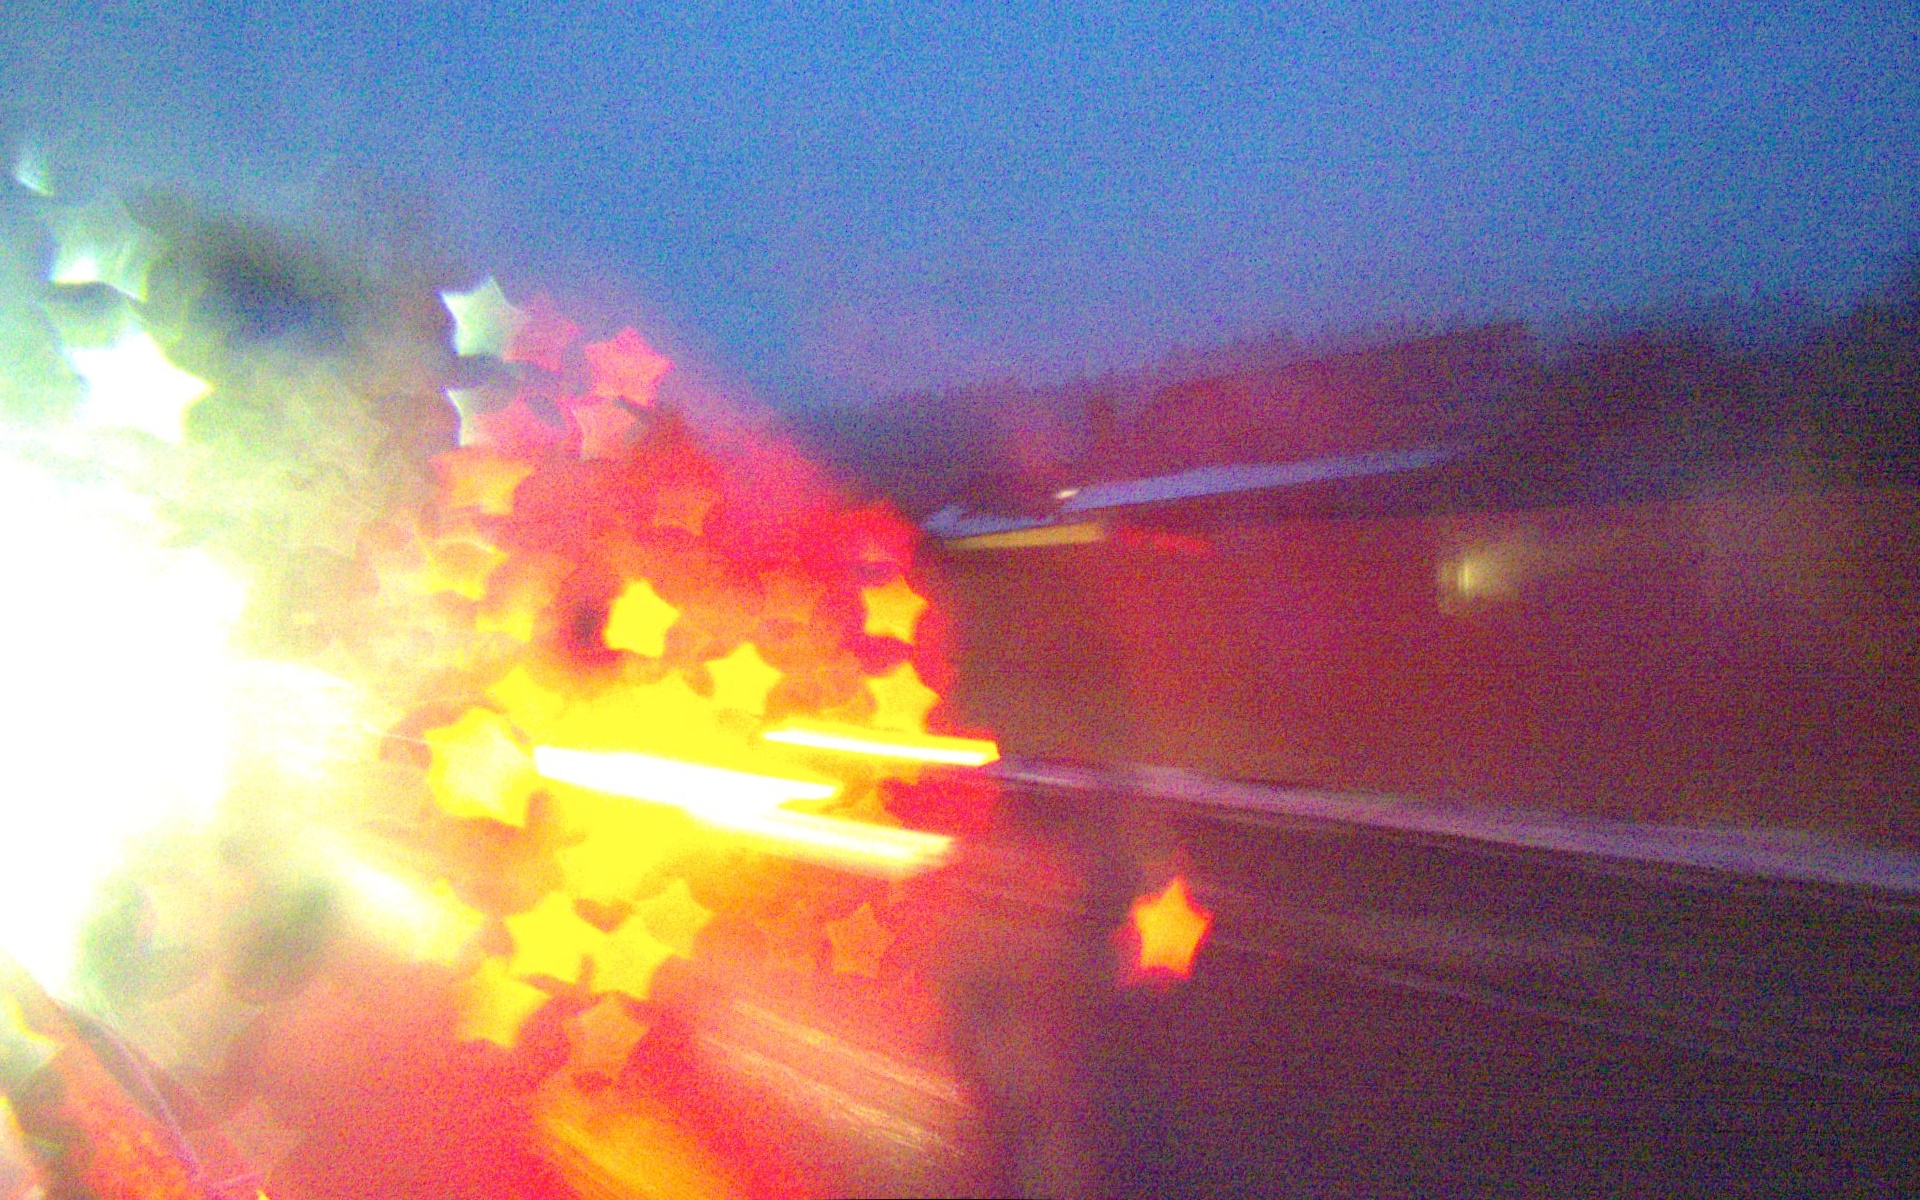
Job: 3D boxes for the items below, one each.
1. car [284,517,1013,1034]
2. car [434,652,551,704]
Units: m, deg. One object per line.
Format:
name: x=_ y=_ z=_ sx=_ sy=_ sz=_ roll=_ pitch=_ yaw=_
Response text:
car: x=-1.908 y=0.600 z=5.551 sx=3.998 sy=1.791 sz=1.957 roll=-1 pitch=1 yaw=41
car: x=-18.414 y=3.069 z=39.907 sx=3.969 sy=1.844 sz=1.963 roll=-3 pitch=-3 yaw=20
